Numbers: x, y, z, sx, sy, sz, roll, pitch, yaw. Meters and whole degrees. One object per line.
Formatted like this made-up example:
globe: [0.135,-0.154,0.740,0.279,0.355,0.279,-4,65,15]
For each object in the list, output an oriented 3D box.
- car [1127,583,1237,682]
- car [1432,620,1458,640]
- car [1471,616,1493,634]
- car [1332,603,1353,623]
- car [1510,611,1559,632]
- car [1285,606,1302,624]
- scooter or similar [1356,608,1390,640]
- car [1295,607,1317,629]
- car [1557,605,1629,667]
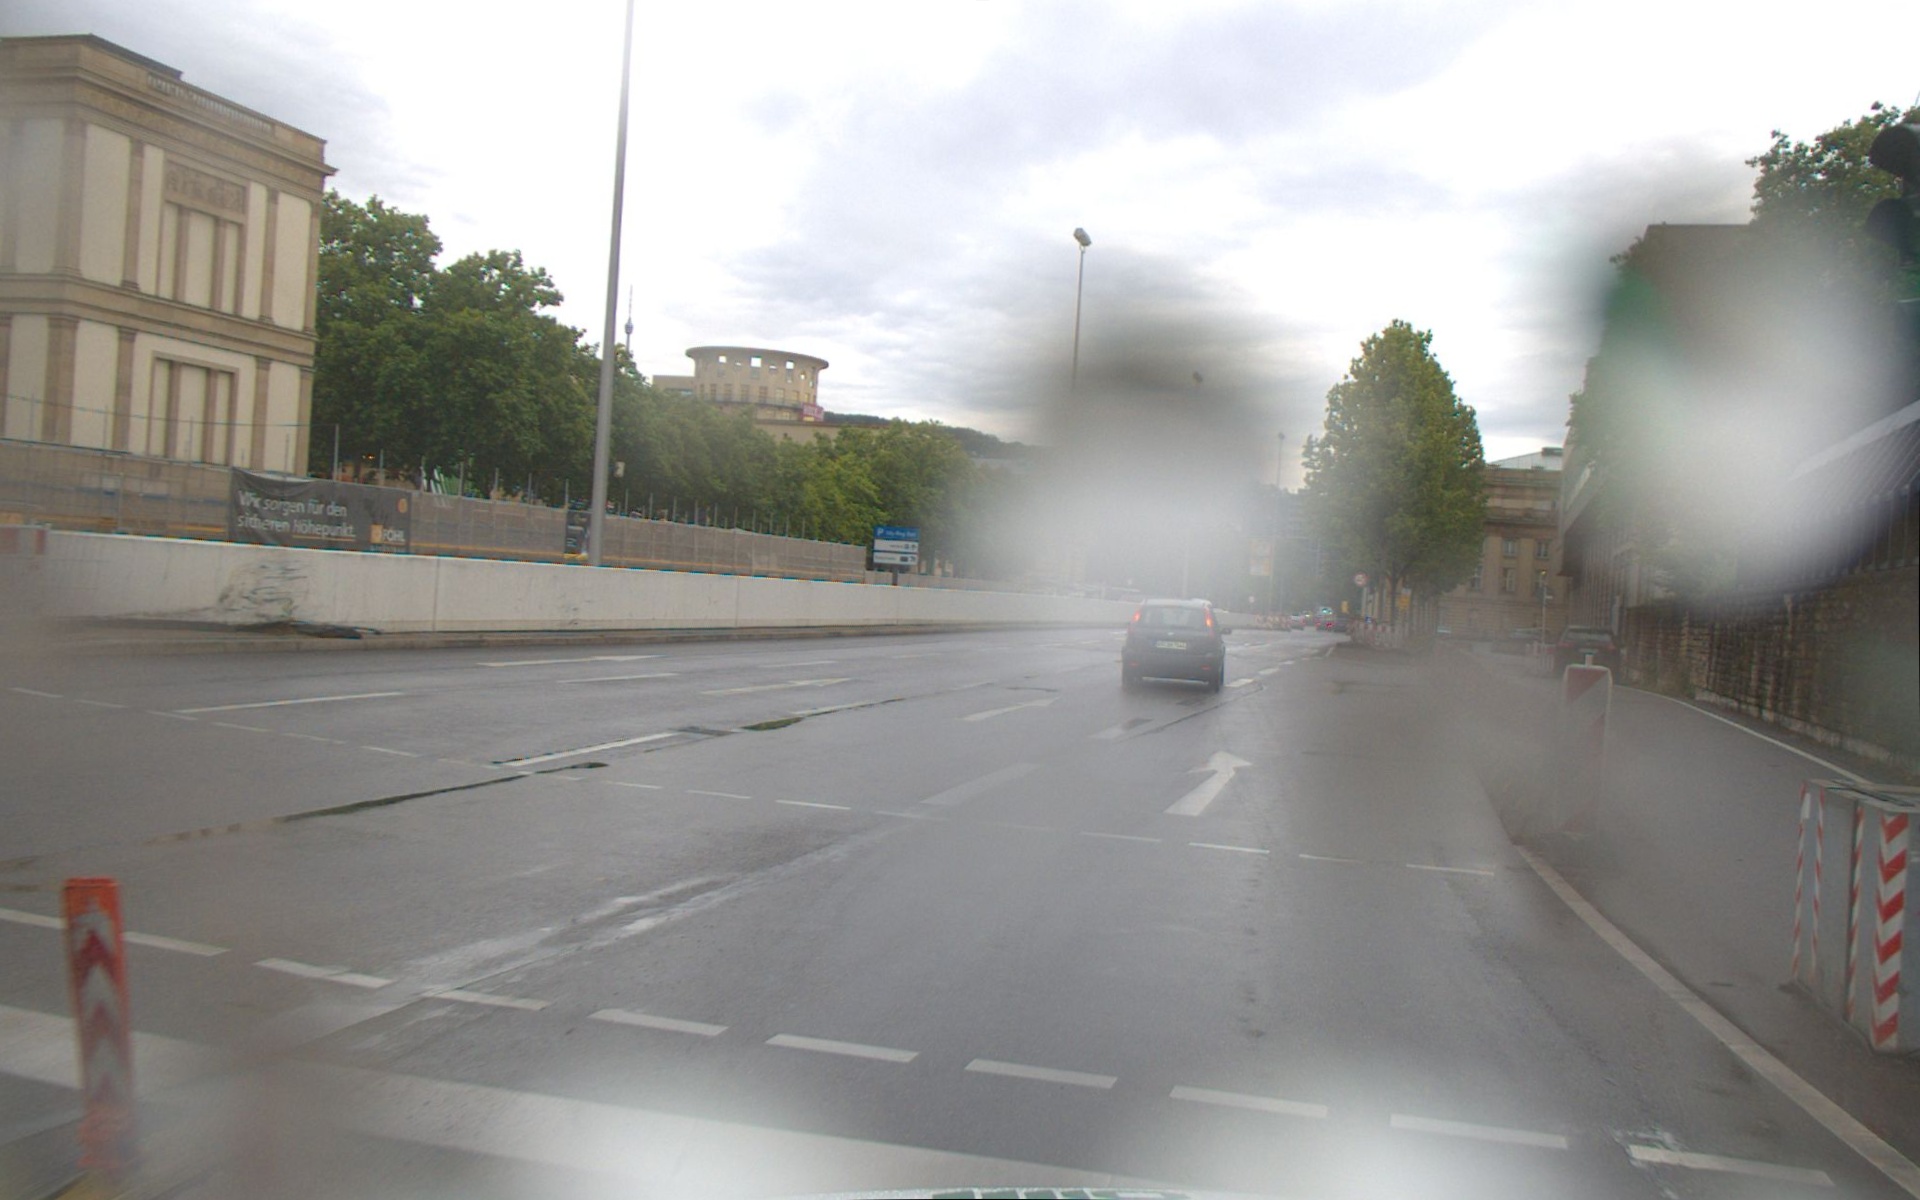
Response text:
car: [3.792,0.531,28.137,1.635,1.452,3.760,4,0,8]
car: [46.444,2.877,158.409,1.953,1.737,4.000,5,1,20]
car: [56.132,2.702,177.922,1.953,1.738,4.000,5,0,20]
car: [42.751,1.402,184.792,1.952,2.048,4.003,5,1,16]
car: [49.395,1.871,142.257,3.903,1.587,1.934,2,-3,17]
car: [28.864,1.312,143.105,1.356,1.410,3.069,3,0,11]
scooter or similar: [18.364,1.069,73.485,1.328,1.307,0.619,6,-1,17]
car: [36.099,1.909,172.669,1.952,2.048,4.003,6,-1,11]
car: [17.868,0.967,46.757,1.767,1.579,4.326,2,1,21]
